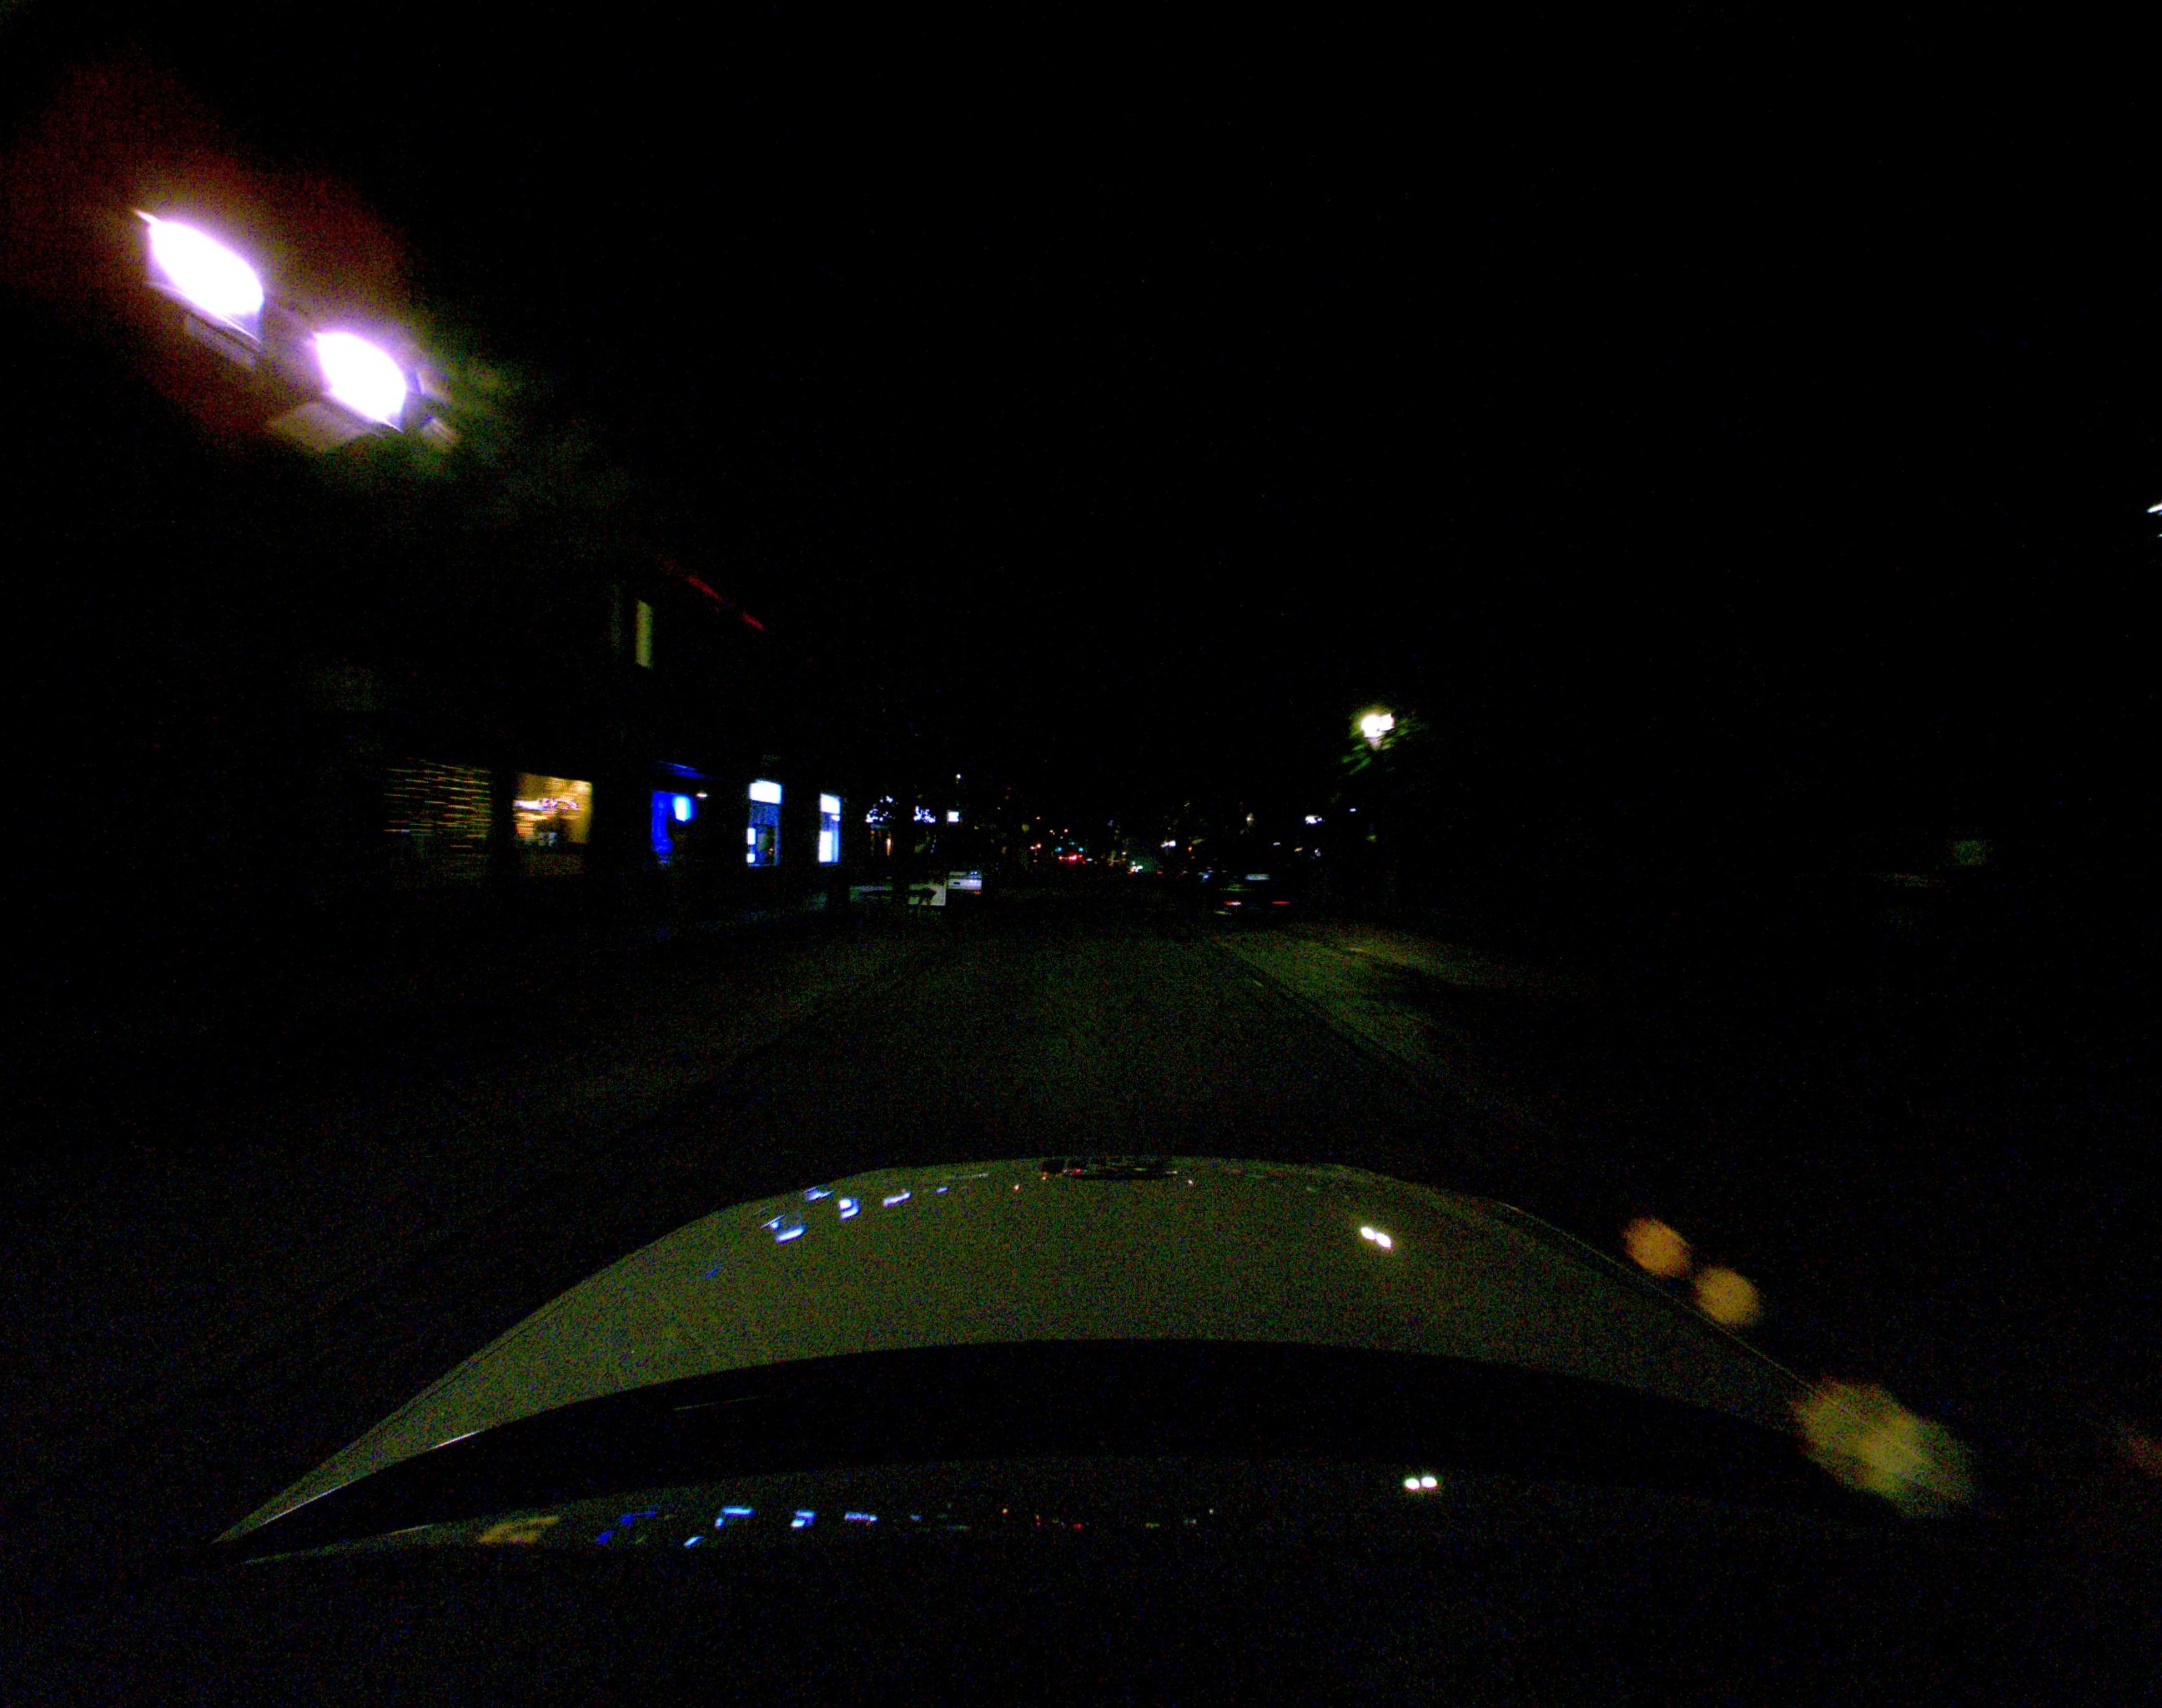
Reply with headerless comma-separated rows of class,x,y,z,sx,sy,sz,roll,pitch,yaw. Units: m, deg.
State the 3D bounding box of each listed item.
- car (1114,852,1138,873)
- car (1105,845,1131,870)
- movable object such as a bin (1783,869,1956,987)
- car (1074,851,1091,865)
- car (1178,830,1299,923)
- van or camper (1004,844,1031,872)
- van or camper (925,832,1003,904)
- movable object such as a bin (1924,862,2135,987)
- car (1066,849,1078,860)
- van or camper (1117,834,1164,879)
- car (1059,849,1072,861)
car,3.141,0.584,57.309,1.526,1.418,3.845,0,0,0
car,2.845,0.254,63.121,1.833,1.901,3.845,0,0,0
movable object such as a bin,9.417,0.849,9.777,1.101,1.307,1.009,2,-1,-2
car,0.208,0.436,90.963,1.833,1.542,3.845,0,0,0
car,3.377,0.444,18.287,1.809,1.828,4.345,0,0,-1
van or camper,-4.671,0.290,60.070,1.932,1.989,3.839,0,0,-4
van or camper,-3.559,0.397,25.502,1.861,2.011,4.259,2,0,-2
movable object such as a bin,11.474,0.816,9.915,1.257,1.419,1.117,0,-1,0
car,-1.631,0.068,146.254,1.988,1.823,3.997,1,0,-2
van or camper,3.188,0.121,44.331,2.103,2.317,4.259,-1,0,-2
car,-2.363,0.140,122.818,1.988,1.823,3.998,1,0,-1
